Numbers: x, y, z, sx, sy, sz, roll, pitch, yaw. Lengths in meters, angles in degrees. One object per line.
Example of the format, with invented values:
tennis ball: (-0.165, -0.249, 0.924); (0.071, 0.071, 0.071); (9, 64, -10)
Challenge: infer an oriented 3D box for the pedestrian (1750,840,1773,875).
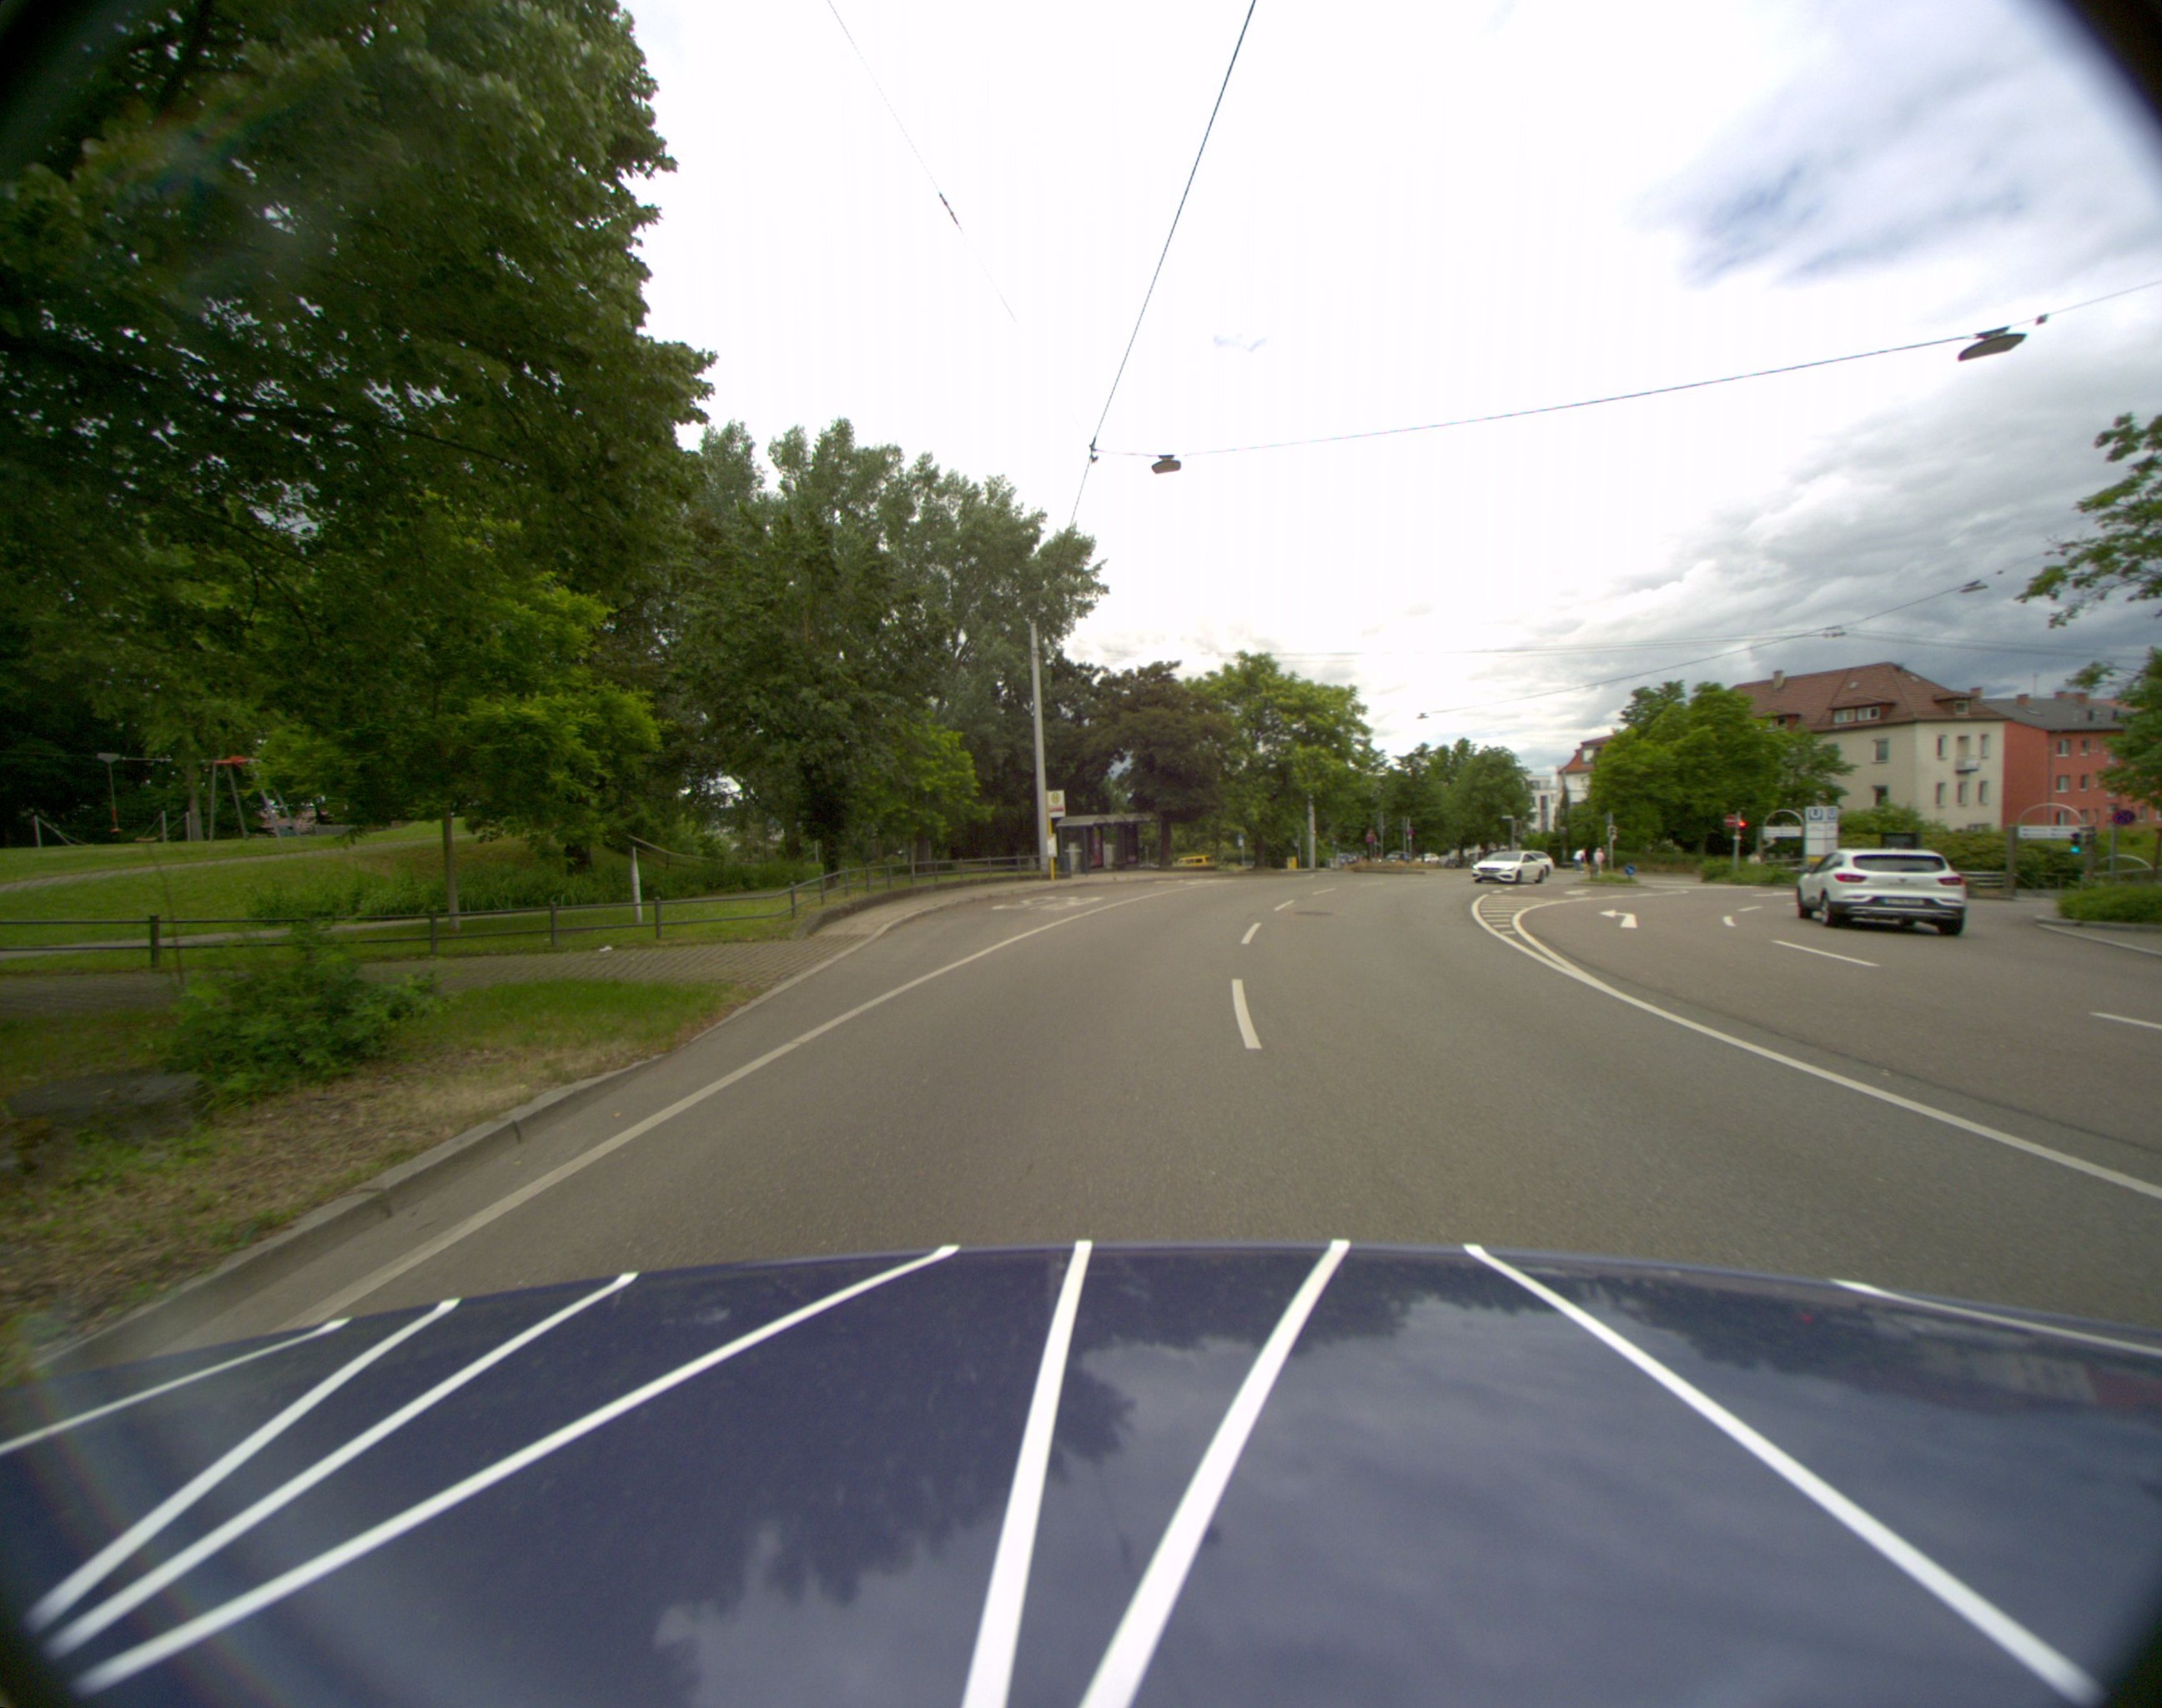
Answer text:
pedestrian: (36.437, 0.179, 40.696); (0.614, 1.849, 0.707); (2, -1, -8)

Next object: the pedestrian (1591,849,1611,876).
pedestrian: (33.308, 0.537, 48.663); (0.727, 1.703, 0.615); (1, 4, -11)

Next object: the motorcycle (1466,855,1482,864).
motorcycle: (44.591, 0.645, 86.268); (2.059, 1.027, 0.753); (0, 1, -35)

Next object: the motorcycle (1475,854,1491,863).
motorcycle: (45.134, 0.502, 85.261); (2.059, 1.027, 0.753); (0, 1, -35)

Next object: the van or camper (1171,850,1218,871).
van or camper: (11.529, 0.651, 77.258); (4.457, 1.966, 1.893); (1, 3, 43)

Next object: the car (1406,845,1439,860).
car: (41.997, -0.165, 93.403); (4.725, 1.892, 1.994); (0, 0, -43)

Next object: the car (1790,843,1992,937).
car: (16.306, 0.631, 15.590); (1.896, 1.644, 4.385); (0, 0, 34)

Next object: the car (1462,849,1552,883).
car: (18.893, 0.473, 33.658); (4.238, 1.390, 1.994); (-1, 1, -38)

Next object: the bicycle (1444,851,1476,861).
bicycle: (41.116, 0.216, 82.388); (2.952, 1.139, 0.923); (1, 1, 0)

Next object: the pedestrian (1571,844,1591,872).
pedestrian: (31.793, 0.250, 48.280); (0.727, 1.703, 0.615); (1, 4, -11)

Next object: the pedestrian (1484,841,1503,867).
pedestrian: (29.571, -0.006, 54.520); (0.856, 1.875, 0.965); (0, 1, 4)
